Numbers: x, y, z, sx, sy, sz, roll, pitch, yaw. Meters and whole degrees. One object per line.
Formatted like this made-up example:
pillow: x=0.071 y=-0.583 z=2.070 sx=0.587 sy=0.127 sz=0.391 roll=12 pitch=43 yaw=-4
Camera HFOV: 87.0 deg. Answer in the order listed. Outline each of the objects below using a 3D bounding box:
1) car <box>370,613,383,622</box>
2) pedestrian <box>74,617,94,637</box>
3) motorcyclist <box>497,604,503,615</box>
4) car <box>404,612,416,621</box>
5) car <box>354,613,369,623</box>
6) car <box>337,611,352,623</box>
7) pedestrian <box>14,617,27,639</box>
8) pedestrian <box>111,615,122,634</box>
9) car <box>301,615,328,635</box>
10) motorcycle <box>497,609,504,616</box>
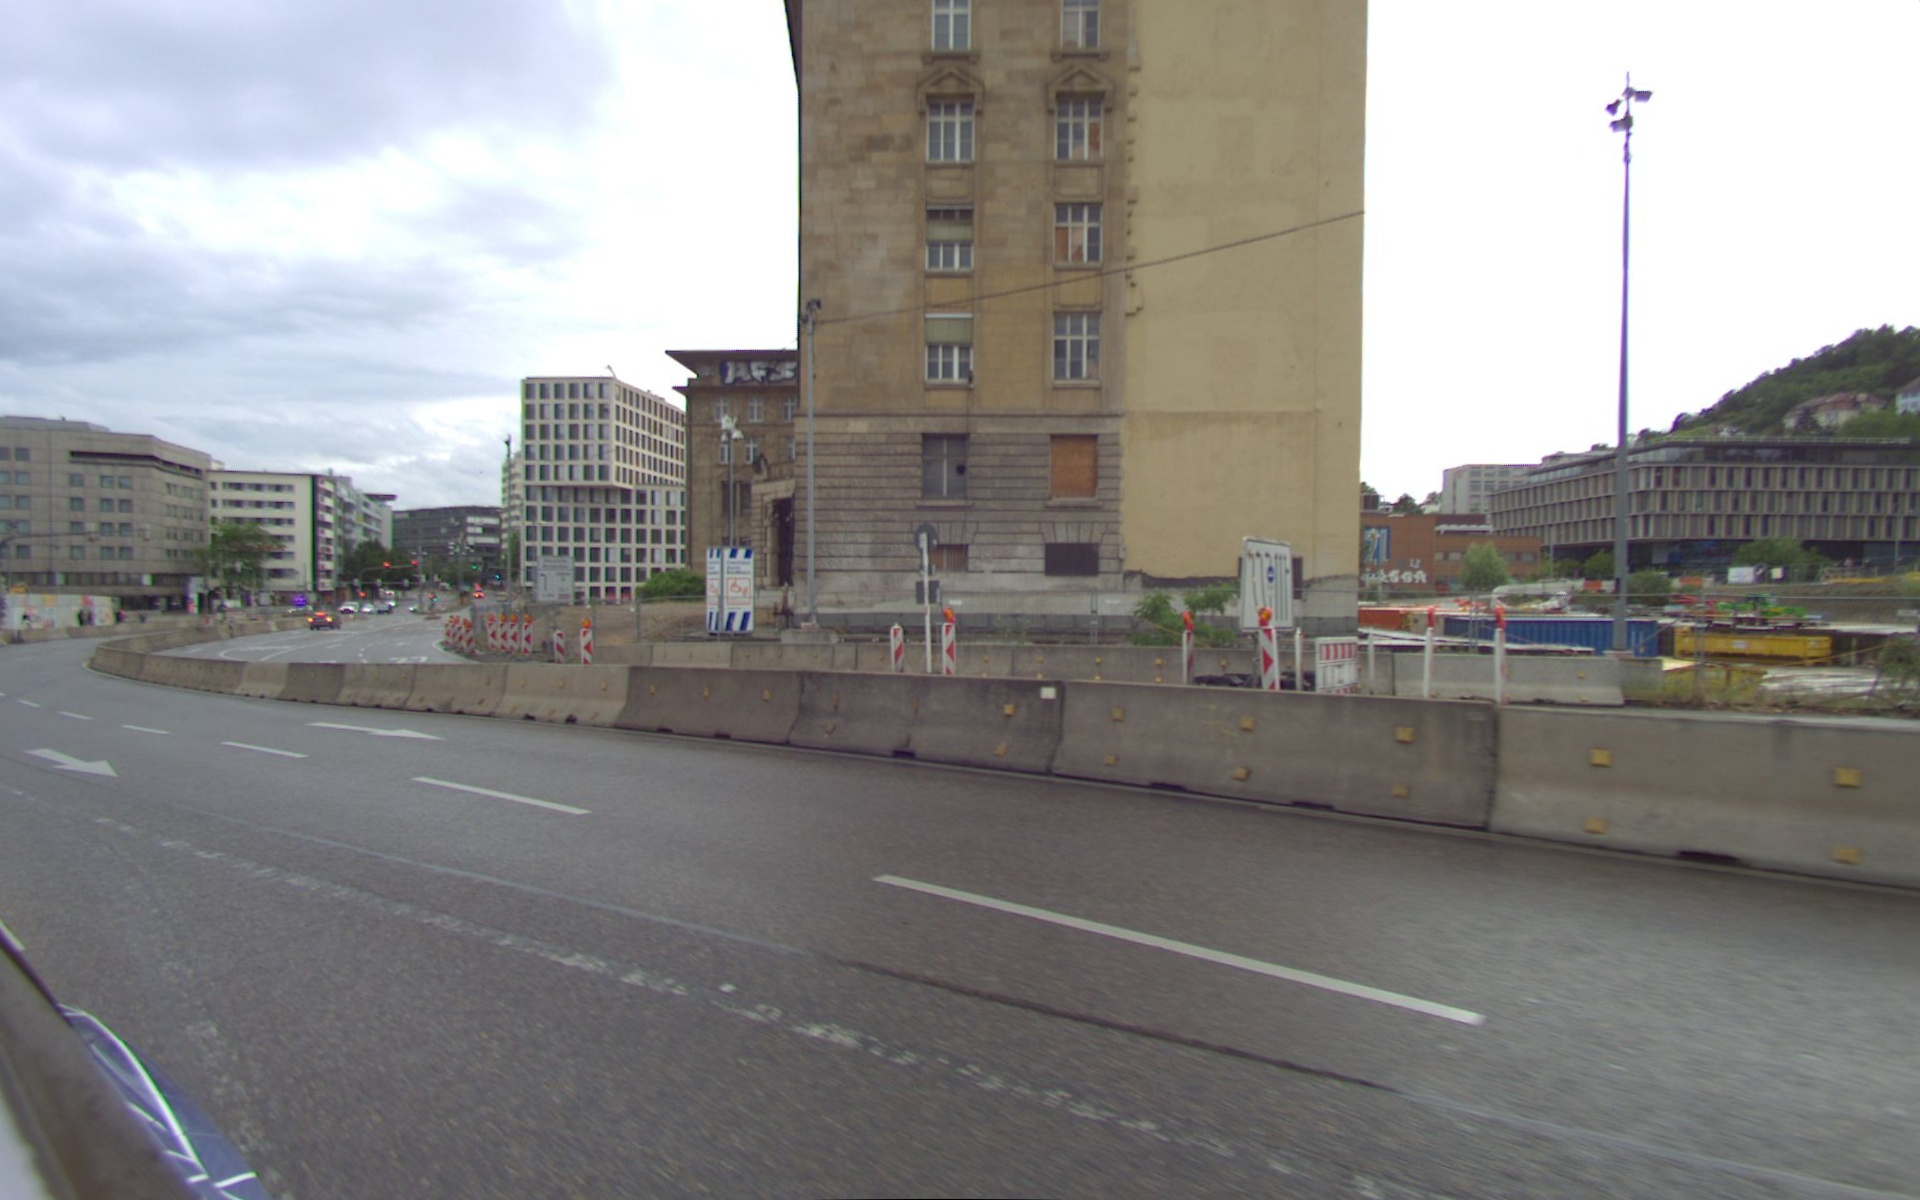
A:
car: x=-95.120 y=2.868 z=164.994 sx=1.680 sy=1.464 sz=3.808 roll=0 pitch=0 yaw=-28
pedestrian: x=-78.645 y=2.405 z=90.880 sx=1.081 sy=1.774 sz=0.909 roll=1 pitch=-1 yaw=-23
motorcyclist: x=-63.315 y=1.246 z=139.368 sx=0.692 sy=1.498 sz=0.966 roll=0 pitch=0 yaw=-28
car: x=-93.890 y=2.863 z=172.725 sx=1.762 sy=1.464 sz=3.684 roll=0 pitch=0 yaw=-28
car: x=-98.491 y=2.916 z=166.532 sx=1.965 sy=1.464 sz=4.013 roll=0 pitch=0 yaw=-28
car: x=-101.734 y=2.812 z=167.289 sx=1.965 sy=1.838 sz=4.013 roll=0 pitch=0 yaw=-28
pedestrian: x=-71.956 y=2.117 z=77.514 sx=0.638 sy=1.682 sz=0.767 roll=2 pitch=-1 yaw=-38
pedestrian: x=-78.685 y=2.267 z=94.429 sx=0.745 sy=1.774 sz=0.767 roll=2 pitch=-1 yaw=-38
car: x=-54.577 y=2.113 z=85.659 sx=1.742 sy=1.532 sz=4.400 roll=0 pitch=0 yaw=-30
motorcycle: x=-63.351 y=1.696 z=139.462 sx=0.692 sy=0.899 sz=1.828 roll=0 pitch=0 yaw=-28
